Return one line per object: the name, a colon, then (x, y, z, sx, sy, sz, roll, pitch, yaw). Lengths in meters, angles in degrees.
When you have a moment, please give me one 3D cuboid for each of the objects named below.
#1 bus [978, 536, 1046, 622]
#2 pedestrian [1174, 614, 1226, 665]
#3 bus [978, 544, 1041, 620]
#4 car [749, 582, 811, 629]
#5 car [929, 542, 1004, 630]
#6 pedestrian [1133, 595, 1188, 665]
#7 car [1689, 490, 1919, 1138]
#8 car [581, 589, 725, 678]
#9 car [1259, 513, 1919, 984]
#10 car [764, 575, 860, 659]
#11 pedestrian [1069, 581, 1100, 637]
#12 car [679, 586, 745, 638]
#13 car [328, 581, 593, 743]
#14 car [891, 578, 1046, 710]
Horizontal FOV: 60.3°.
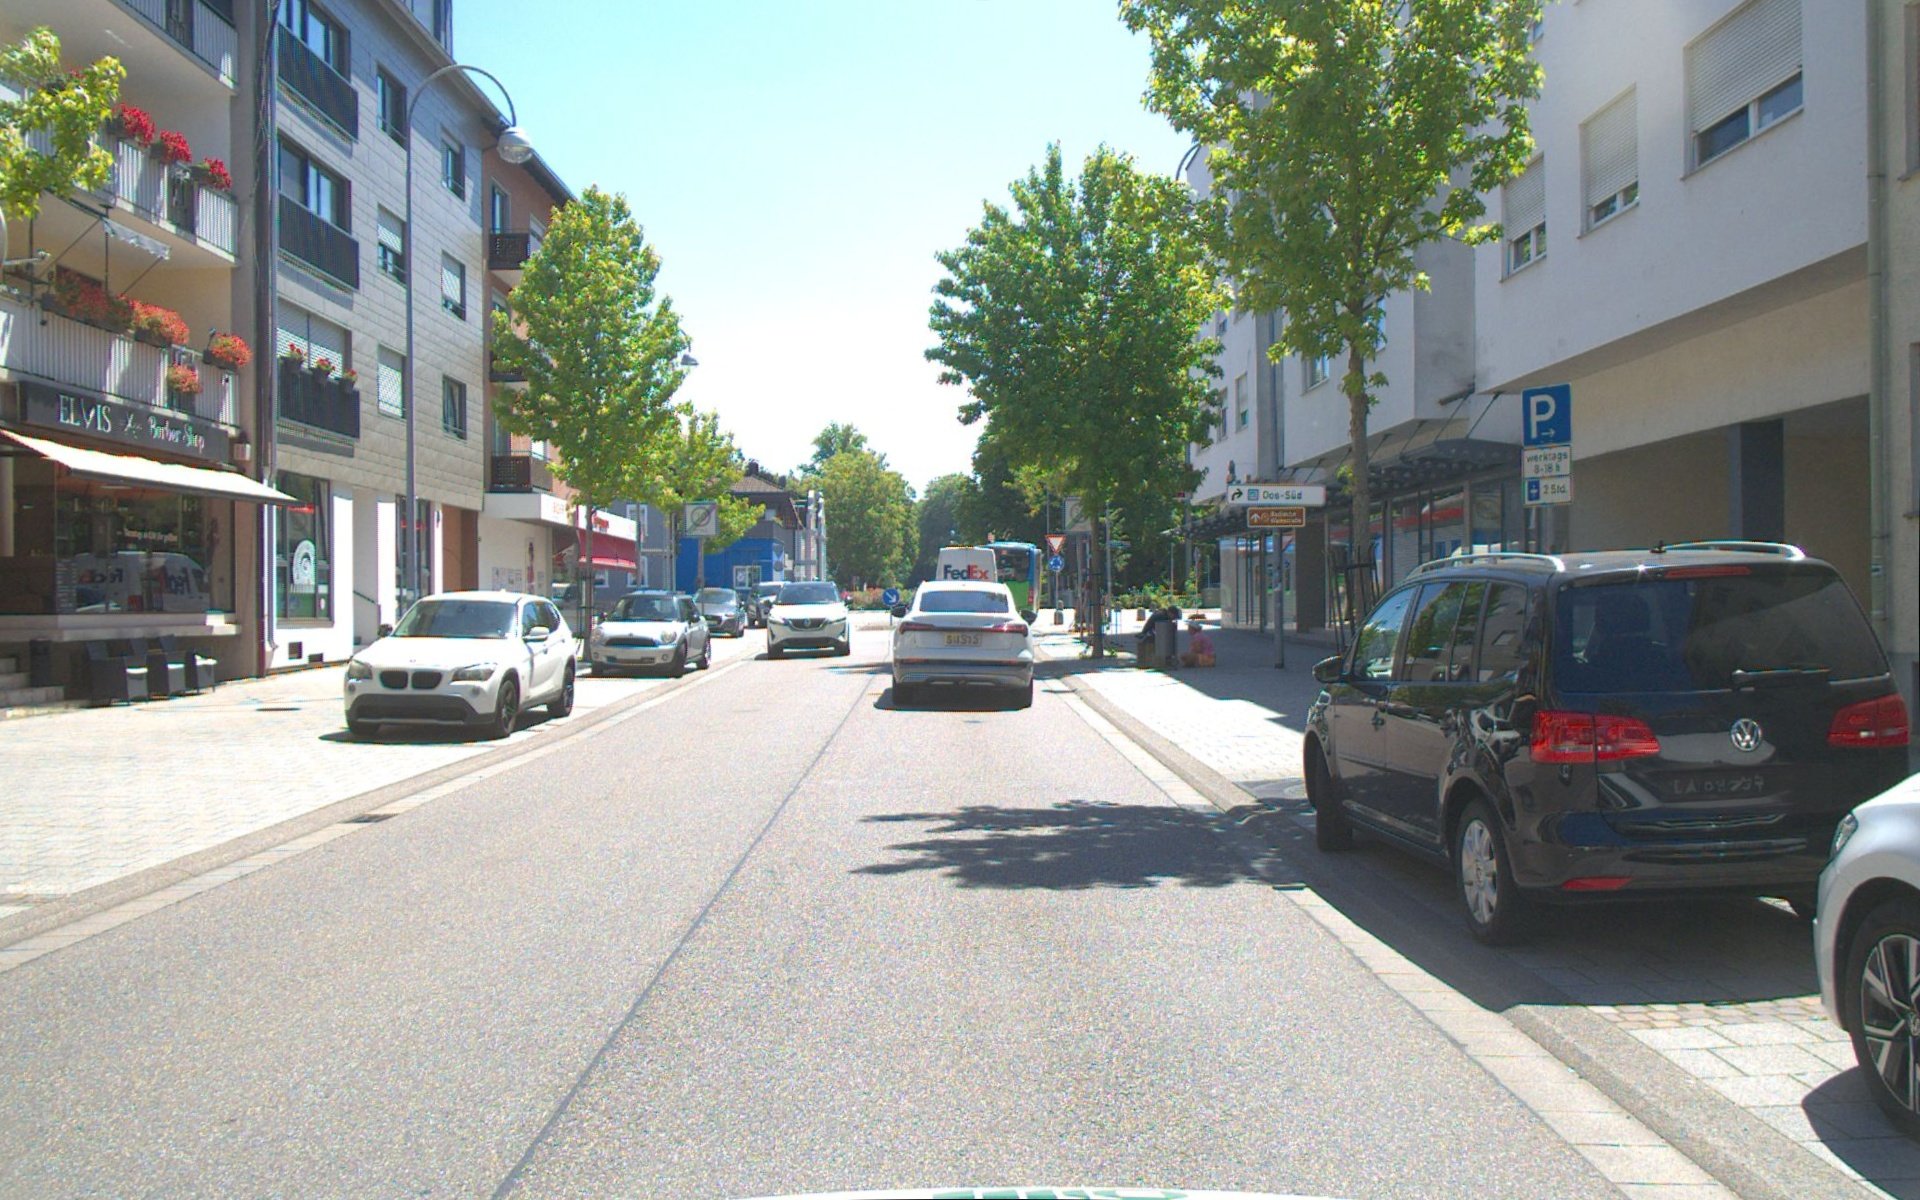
bus: (2.133, -0.811, 68.035, 2.605, 3.278, 7.302, 1, 0, 2)
pedestrian: (4.320, 0.710, 29.814, 0.887, 0.894, 0.648, -1, 0, 4)
bus: (2.184, -0.795, 75.352, 2.606, 3.266, 7.450, 0, 0, -1)
car: (-7.266, 0.213, 66.443, 1.835, 1.788, 3.983, 1, 0, -16)
car: (0.162, -0.399, 50.247, 2.112, 2.484, 5.282, 1, 0, 0)
pedestrian: (3.666, 0.546, 30.276, 0.887, 1.258, 0.648, -1, 0, -2)
car: (3.489, 0.532, 3.176, 1.858, 1.704, 4.688, -2, 0, -3)
car: (-5.540, 0.563, 30.354, 1.716, 1.478, 4.401, 1, 0, 1)
car: (3.000, 0.537, 8.513, 1.819, 1.704, 4.534, -2, 0, -3)
car: (-3.278, 0.359, 37.258, 1.818, 1.721, 4.149, -2, 0, -1)
pedestrian: (3.468, 0.245, 46.096, 0.573, 1.529, 0.713, -1, 0, -25)
car: (-7.668, 0.362, 51.490, 1.802, 1.521, 3.995, -1, 0, -6)
car: (-5.709, 0.647, 19.485, 1.716, 1.646, 4.401, 1, 0, 0)
car: (0.050, 0.557, 23.050, 1.953, 1.661, 3.998, 1, 0, -2)
